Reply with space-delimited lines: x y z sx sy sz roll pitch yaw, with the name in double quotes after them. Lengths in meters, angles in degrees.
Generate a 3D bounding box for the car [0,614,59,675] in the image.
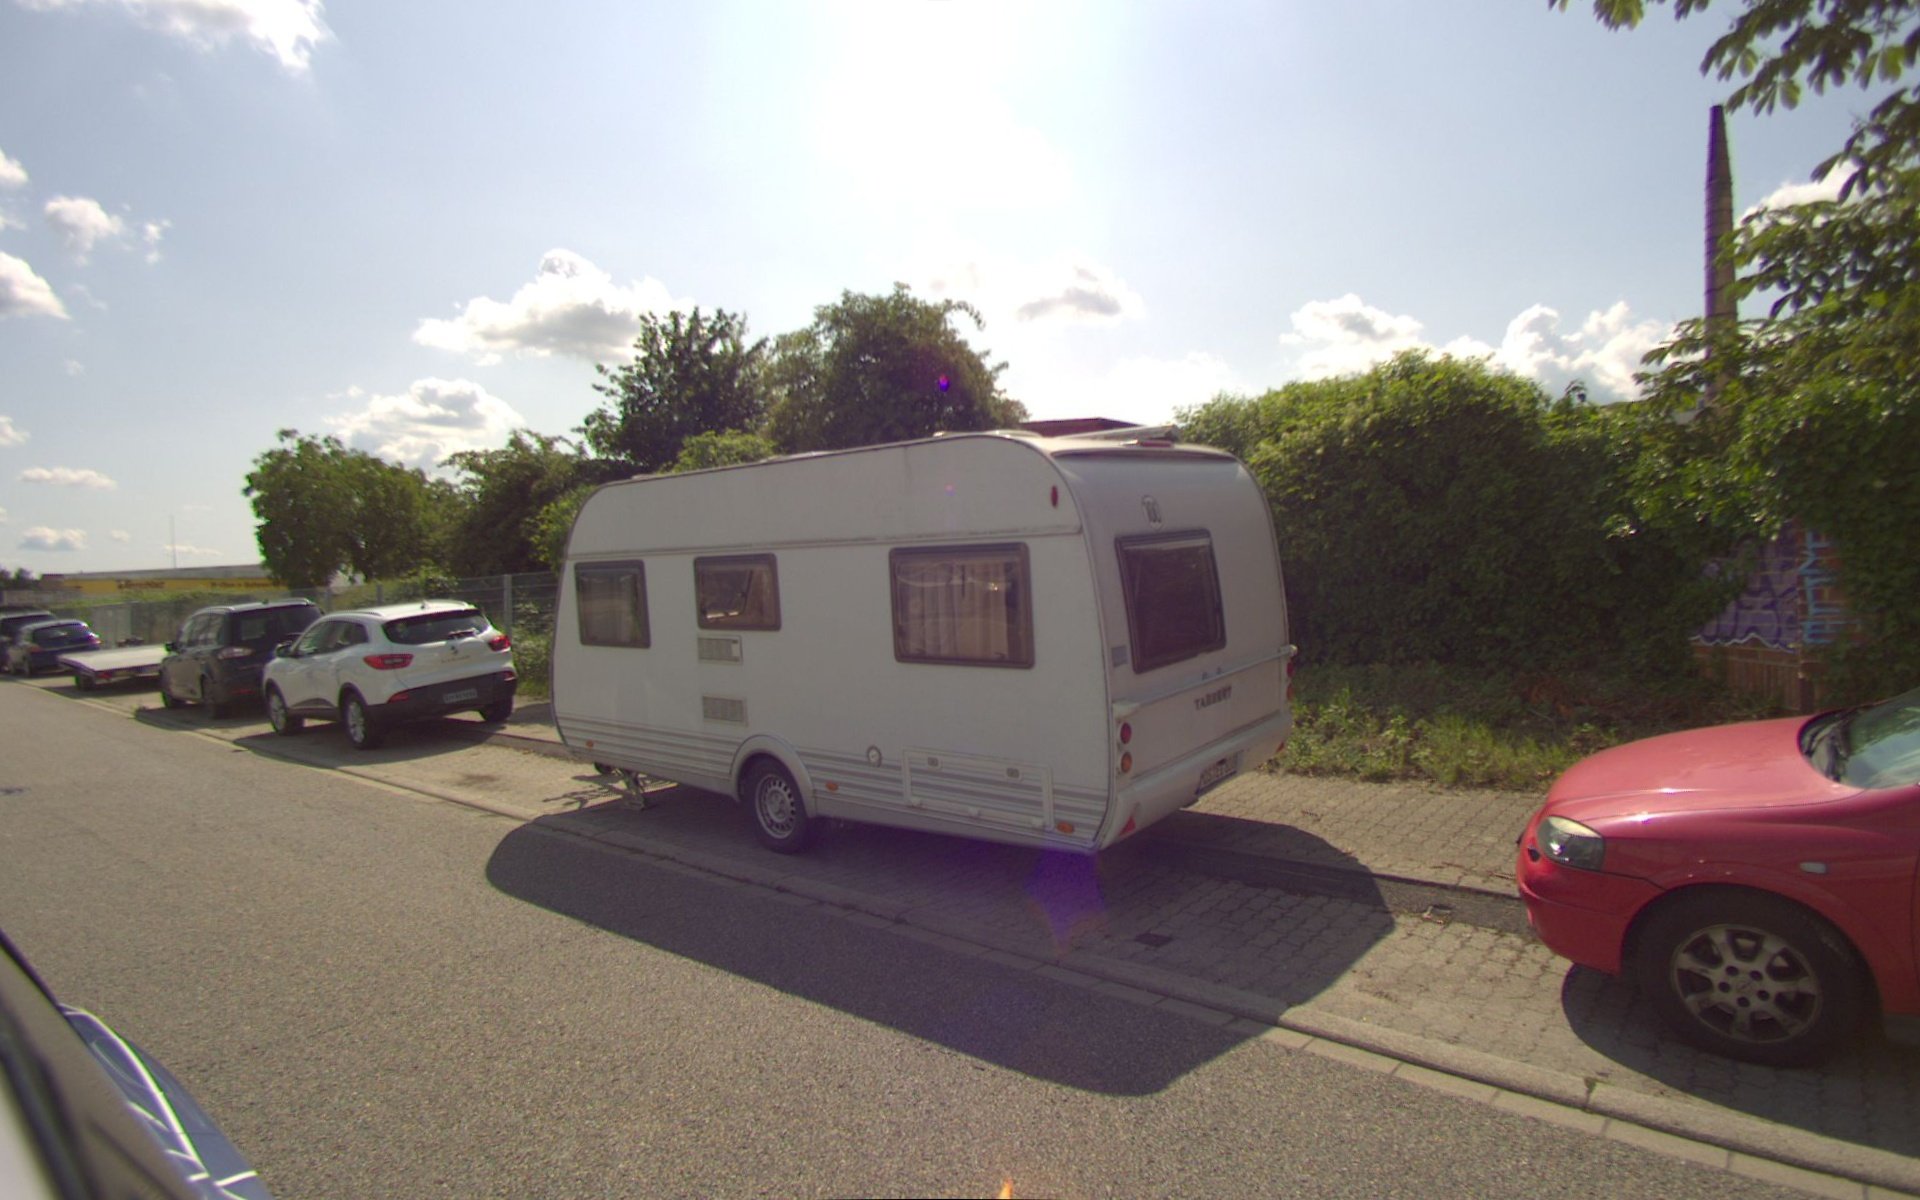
-29.863 1.371 31.755 4.710 1.763 1.783 -1 -1 41 "car"

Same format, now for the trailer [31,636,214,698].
-19.499 1.455 23.383 7.131 0.889 2.248 -1 5 42 "trailer"

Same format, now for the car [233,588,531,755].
-7.570 0.821 13.082 4.438 1.704 1.668 -1 4 38 "car"

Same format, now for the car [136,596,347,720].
-12.236 0.889 17.104 4.732 1.807 1.808 -2 0 41 "car"

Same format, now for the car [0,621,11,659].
-39.734 1.668 40.896 3.708 1.494 1.599 -2 2 41 "car"

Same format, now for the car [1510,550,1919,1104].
4.121 0.624 2.830 4.266 1.543 1.609 -1 4 41 "car"

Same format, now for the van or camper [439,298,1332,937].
-1.107 0.069 7.511 6.827 2.824 2.241 -1 3 40 "van or camper"

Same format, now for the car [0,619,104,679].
-25.861 1.361 28.772 4.197 1.524 1.561 -1 1 39 "car"
